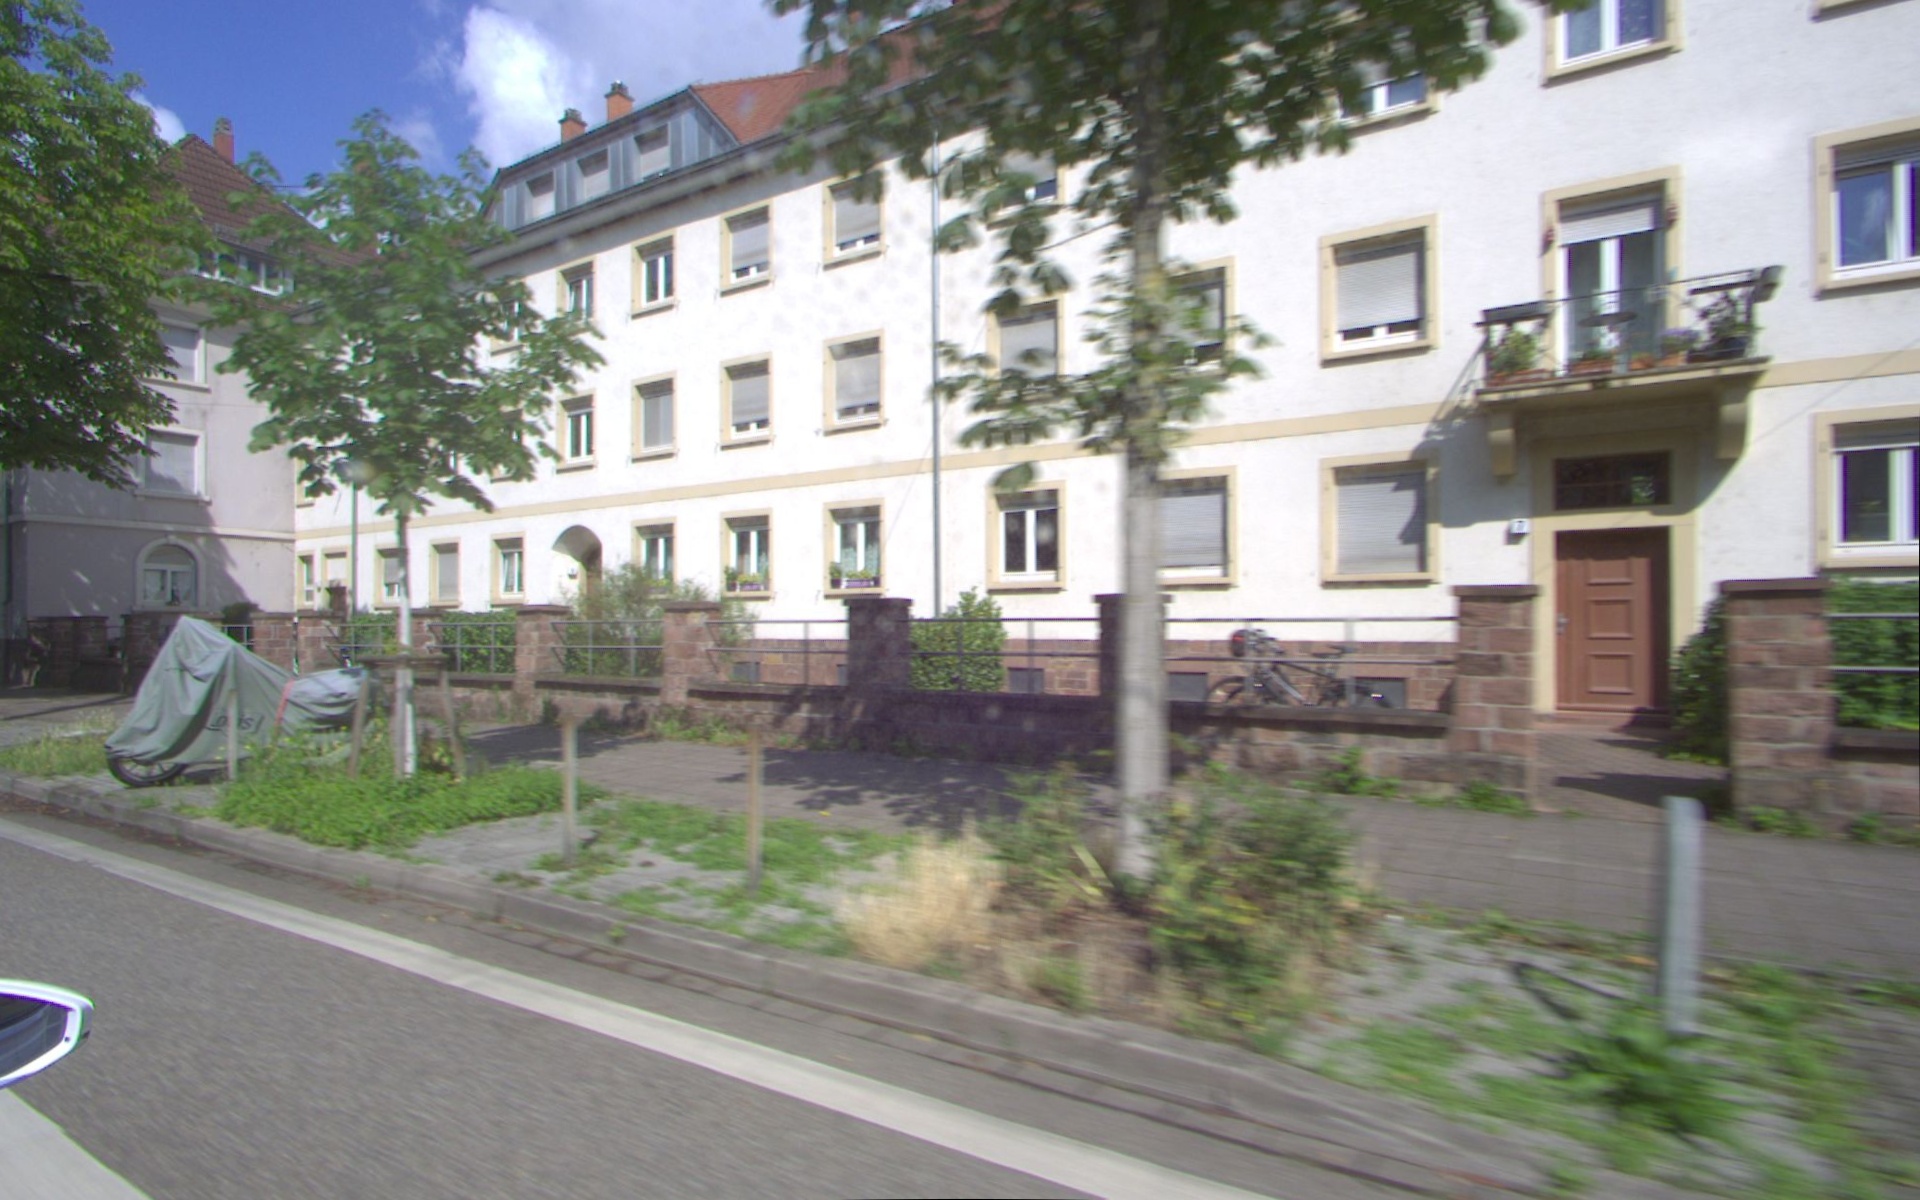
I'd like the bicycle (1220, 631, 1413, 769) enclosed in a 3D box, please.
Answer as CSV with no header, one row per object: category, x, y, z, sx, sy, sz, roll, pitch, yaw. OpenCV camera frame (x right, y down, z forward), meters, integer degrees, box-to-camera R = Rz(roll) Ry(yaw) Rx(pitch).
bicycle,3.428,0.920,9.687,1.680,1.227,0.598,-1,-1,33

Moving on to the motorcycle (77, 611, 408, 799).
motorcycle,-6.571,0.962,9.337,2.347,1.617,0.677,2,-1,-19

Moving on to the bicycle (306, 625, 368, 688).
bicycle,-12.681,1.129,20.359,1.680,1.227,0.411,-1,-1,33

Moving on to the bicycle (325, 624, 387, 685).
bicycle,-12.510,1.108,20.712,1.680,1.227,0.411,-1,-1,33

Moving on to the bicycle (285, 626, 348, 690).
bicycle,-12.857,1.142,19.978,1.680,1.227,0.411,-1,-1,33

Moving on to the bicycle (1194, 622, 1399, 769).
bicycle,3.033,0.817,9.101,1.680,1.227,0.598,-1,-1,33
